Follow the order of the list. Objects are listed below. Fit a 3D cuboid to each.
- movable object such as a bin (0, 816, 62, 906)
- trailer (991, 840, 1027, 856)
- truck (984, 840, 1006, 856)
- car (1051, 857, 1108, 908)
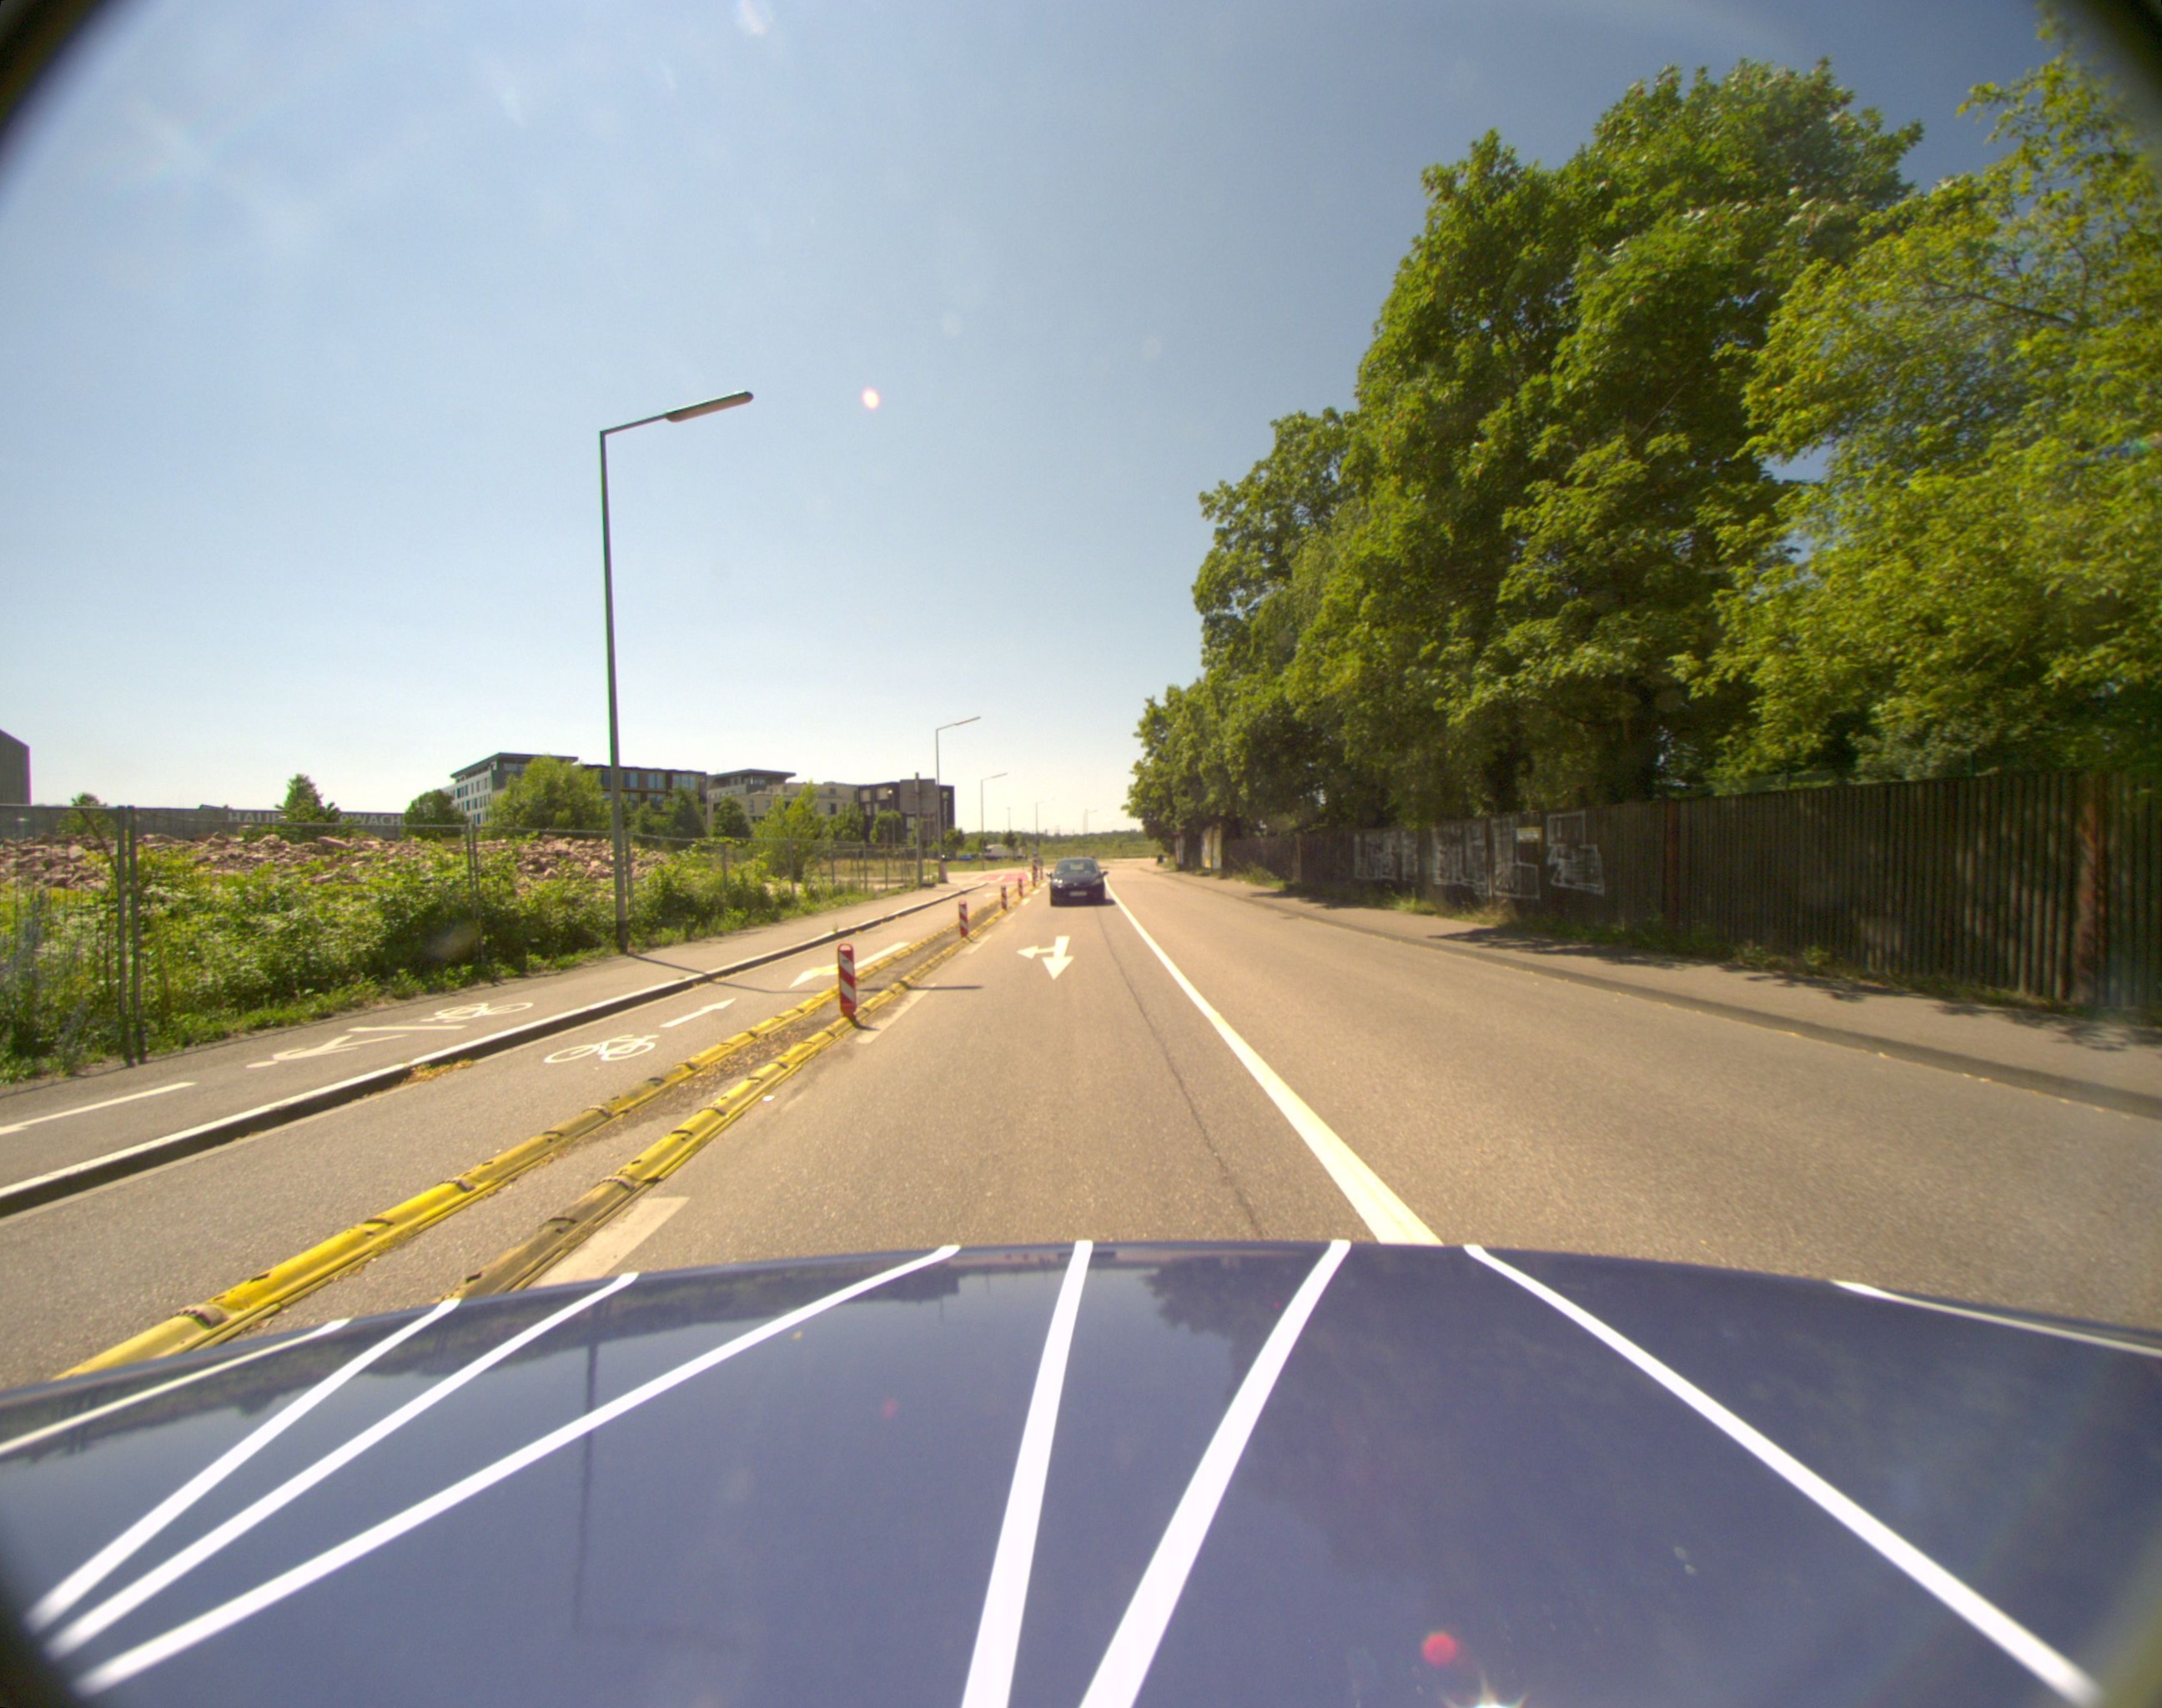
[{"bbox_3d":[-37.802,0.288,25.418,2.204,3.045,3.690,-2,1,6],"label":"movable object such as a bin"},{"bbox_3d":[-15.254,-1.347,162.057,8.193,3.329,1.994,-1,1,-45],"label":"trailer"},{"bbox_3d":[-18.012,-1.320,159.319,4.008,3.317,1.994,-1,1,-45],"label":"truck"},{"bbox_3d":[-0.020,0.841,24.247,1.602,1.422,4.000,-2,0,1],"label":"car"}]
